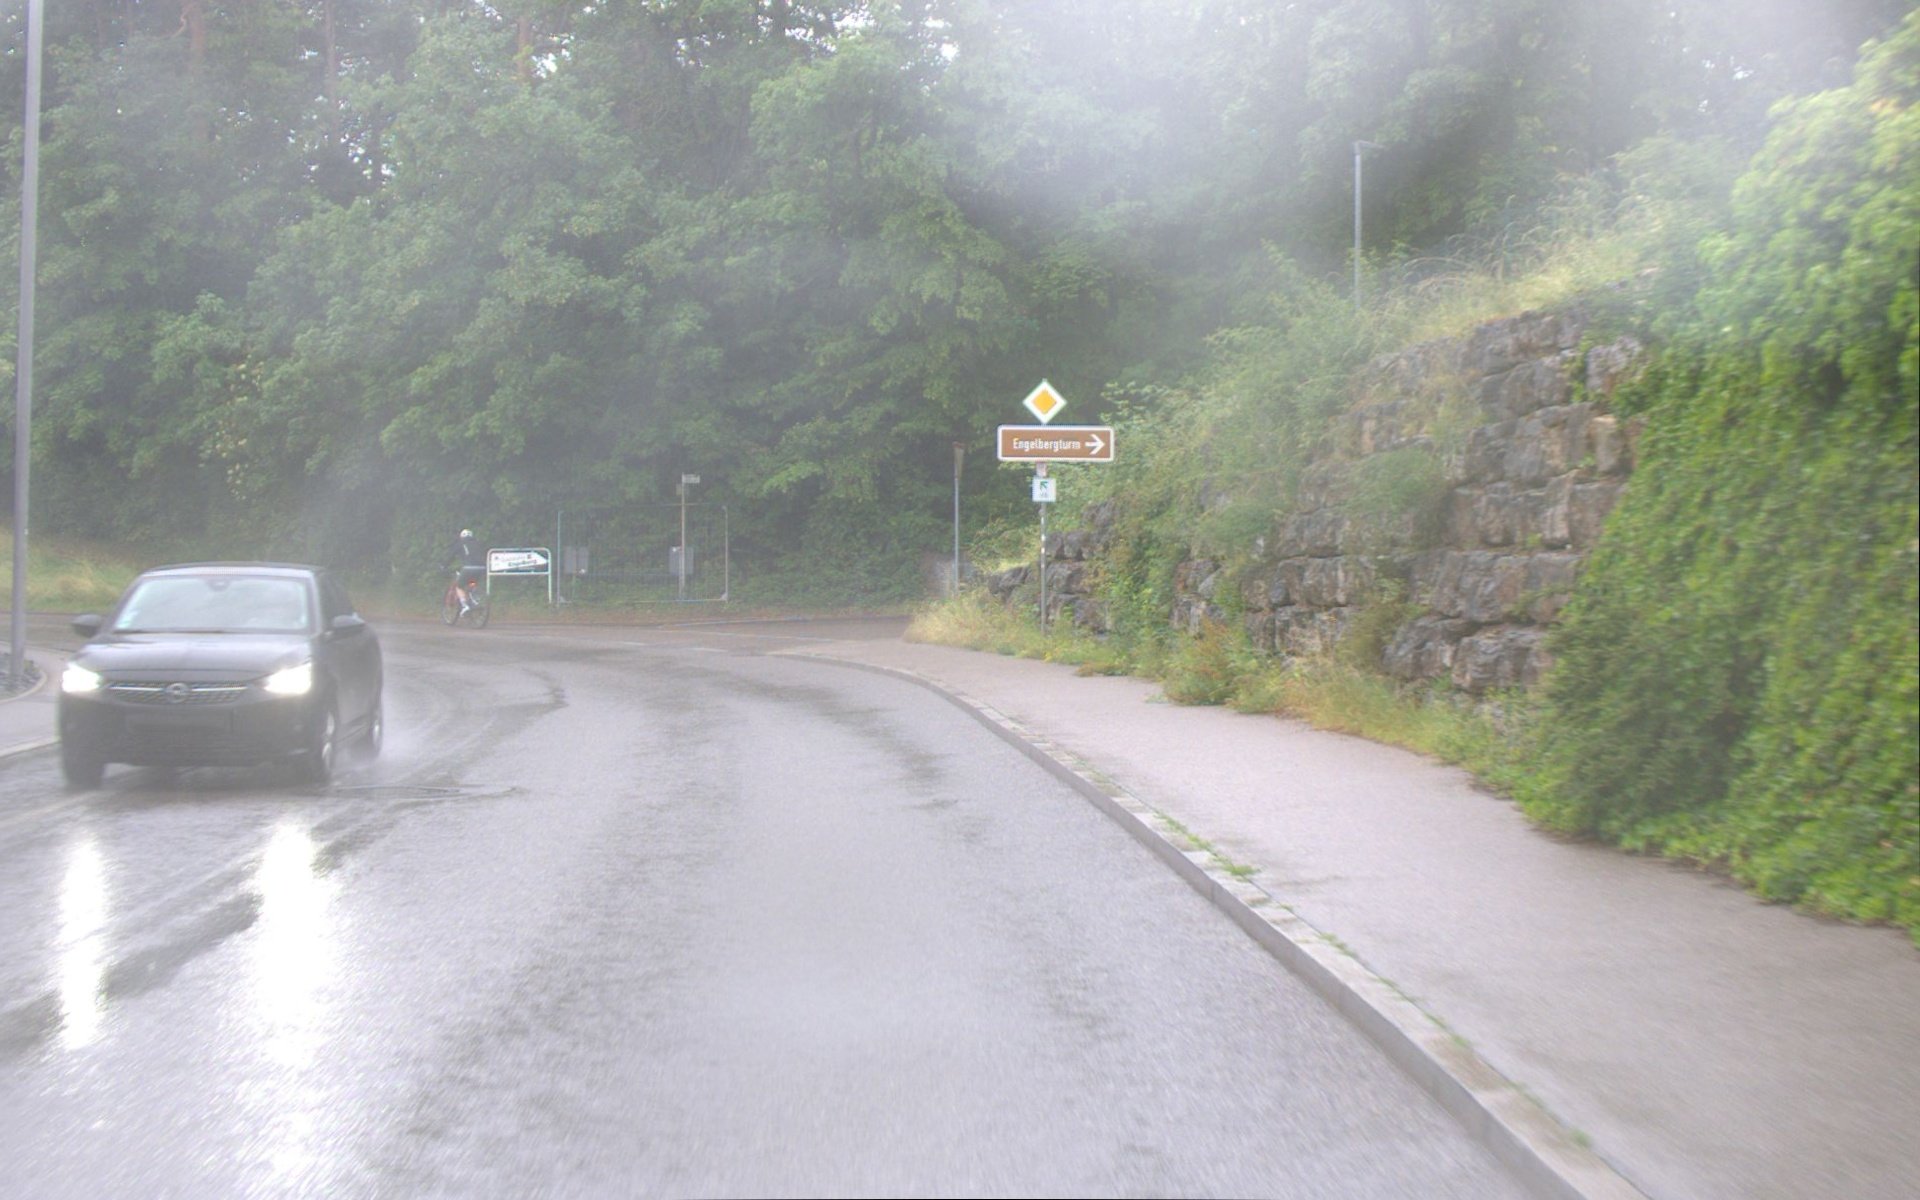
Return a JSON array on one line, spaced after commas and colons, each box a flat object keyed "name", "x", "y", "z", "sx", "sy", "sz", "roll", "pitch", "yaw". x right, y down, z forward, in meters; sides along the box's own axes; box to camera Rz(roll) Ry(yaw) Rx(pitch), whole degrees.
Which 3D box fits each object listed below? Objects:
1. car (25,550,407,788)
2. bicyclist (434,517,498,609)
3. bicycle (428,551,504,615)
[{"name": "car", "x": -4.946, "y": 0.399, "z": 23.409, "sx": 1.881, "sy": 1.444, "sz": 4.209, "roll": 1, "pitch": 1, "yaw": -3}, {"name": "bicyclist", "x": -8.858, "y": -0.668, "z": 61.642, "sx": 0.720, "sy": 1.609, "sz": 0.905, "roll": 1, "pitch": 1, "yaw": -42}, {"name": "bicycle", "x": -8.864, "y": -0.311, "z": 61.640, "sx": 0.527, "sy": 1.081, "sz": 1.620, "roll": 1, "pitch": 1, "yaw": -40}]
